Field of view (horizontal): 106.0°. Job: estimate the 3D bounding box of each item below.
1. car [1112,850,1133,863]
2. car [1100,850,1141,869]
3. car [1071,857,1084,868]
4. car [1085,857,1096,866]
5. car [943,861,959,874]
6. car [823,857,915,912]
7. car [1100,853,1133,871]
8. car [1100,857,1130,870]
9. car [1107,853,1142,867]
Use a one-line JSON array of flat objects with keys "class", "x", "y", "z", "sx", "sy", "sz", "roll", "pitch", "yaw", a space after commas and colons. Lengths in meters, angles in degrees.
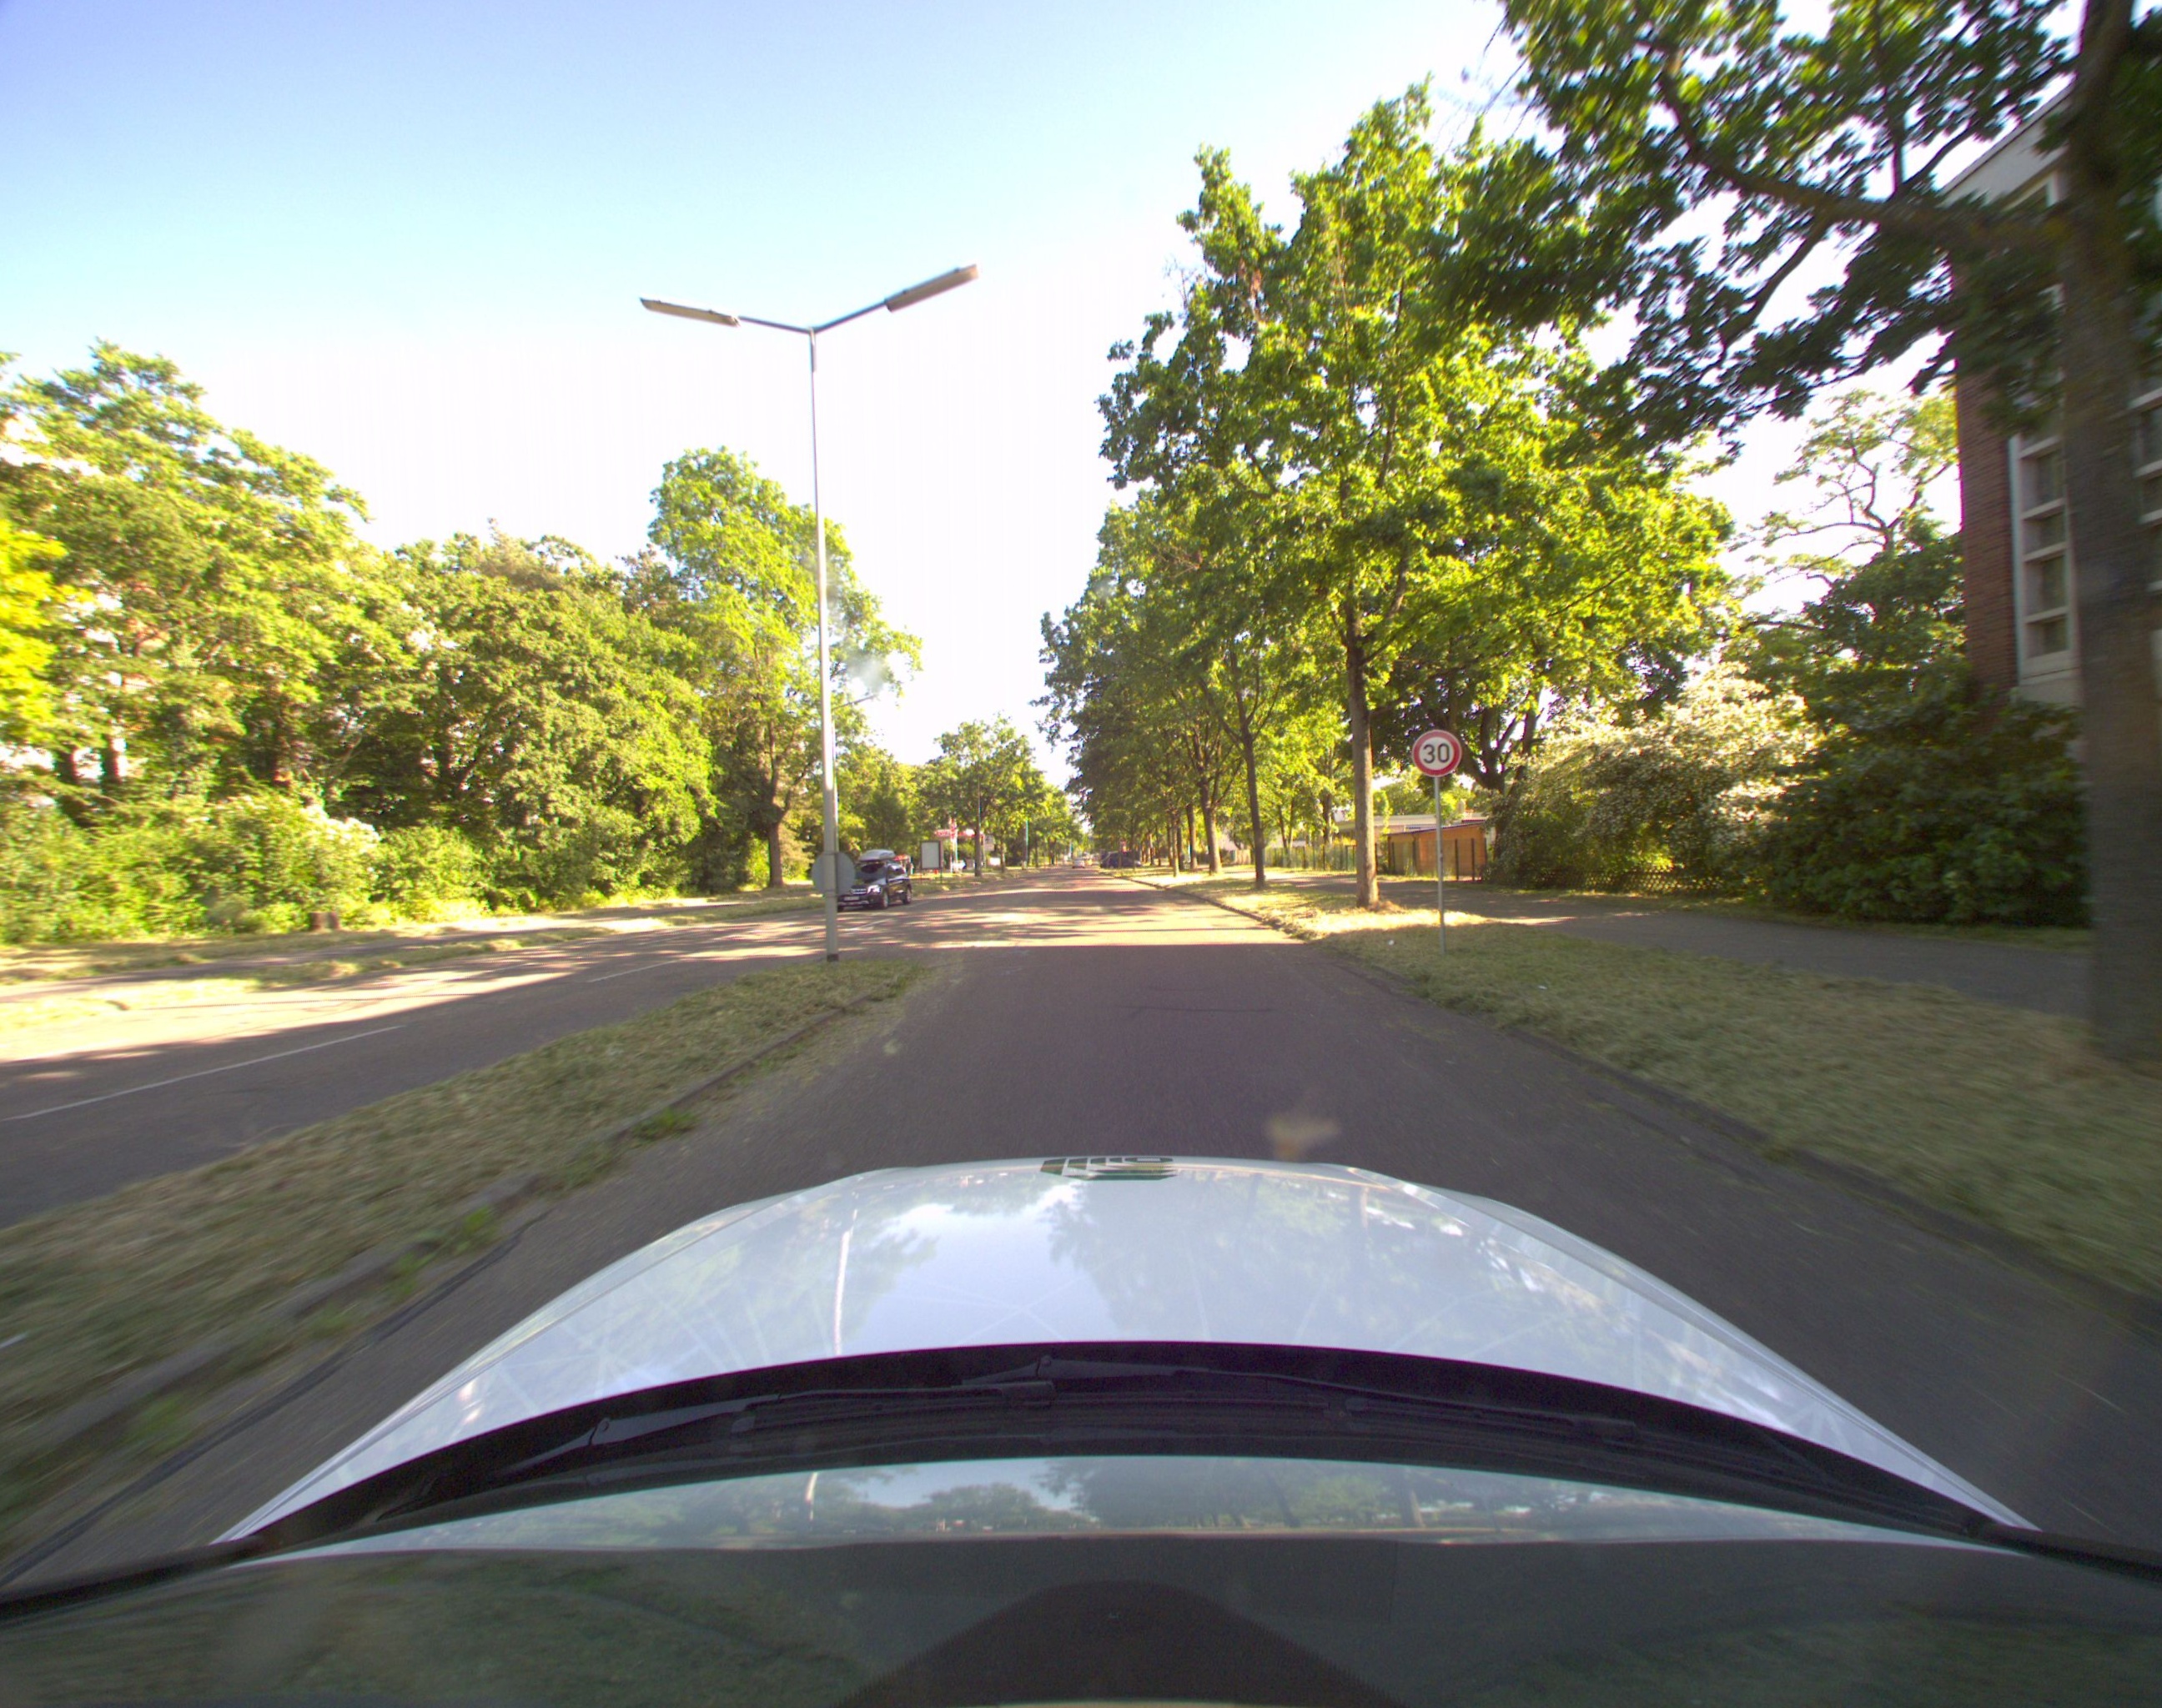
[{"class": "car", "x": 7.124, "y": 0.469, "z": 140.098, "sx": 3.556, "sy": 2.051, "sz": 1.632, "roll": -3, "pitch": -3, "yaw": 0}, {"class": "car", "x": 4.418, "y": 0.610, "z": 91.252, "sx": 4.488, "sy": 1.953, "sz": 1.687, "roll": -3, "pitch": -2, "yaw": 0}, {"class": "car", "x": -0.452, "y": 1.214, "z": 110.457, "sx": 1.656, "sy": 1.337, "sz": 3.664, "roll": -3, "pitch": -2, "yaw": 0}, {"class": "car", "x": 1.541, "y": 1.296, "z": 135.416, "sx": 1.656, "sy": 1.337, "sz": 3.664, "roll": -3, "pitch": -2, "yaw": 0}, {"class": "car", "x": -20.144, "y": 2.139, "z": 126.425, "sx": 1.796, "sy": 1.823, "sz": 3.802, "roll": -3, "pitch": -2, "yaw": -2}, {"class": "car", "x": -7.550, "y": 1.031, "z": 29.498, "sx": 1.831, "sy": 1.708, "sz": 4.508, "roll": -3, "pitch": 0, "yaw": 3}, {"class": "car", "x": 4.040, "y": 0.928, "z": 93.732, "sx": 3.641, "sy": 1.797, "sz": 1.317, "roll": -3, "pitch": -2, "yaw": -1}, {"class": "car", "x": 4.202, "y": 1.201, "z": 101.734, "sx": 3.641, "sy": 1.330, "sz": 1.317, "roll": -3, "pitch": -2, "yaw": -1}, {"class": "car", "x": 4.731, "y": 0.668, "z": 88.273, "sx": 3.641, "sy": 1.398, "sz": 1.317, "roll": -3, "pitch": -2, "yaw": -1}]
